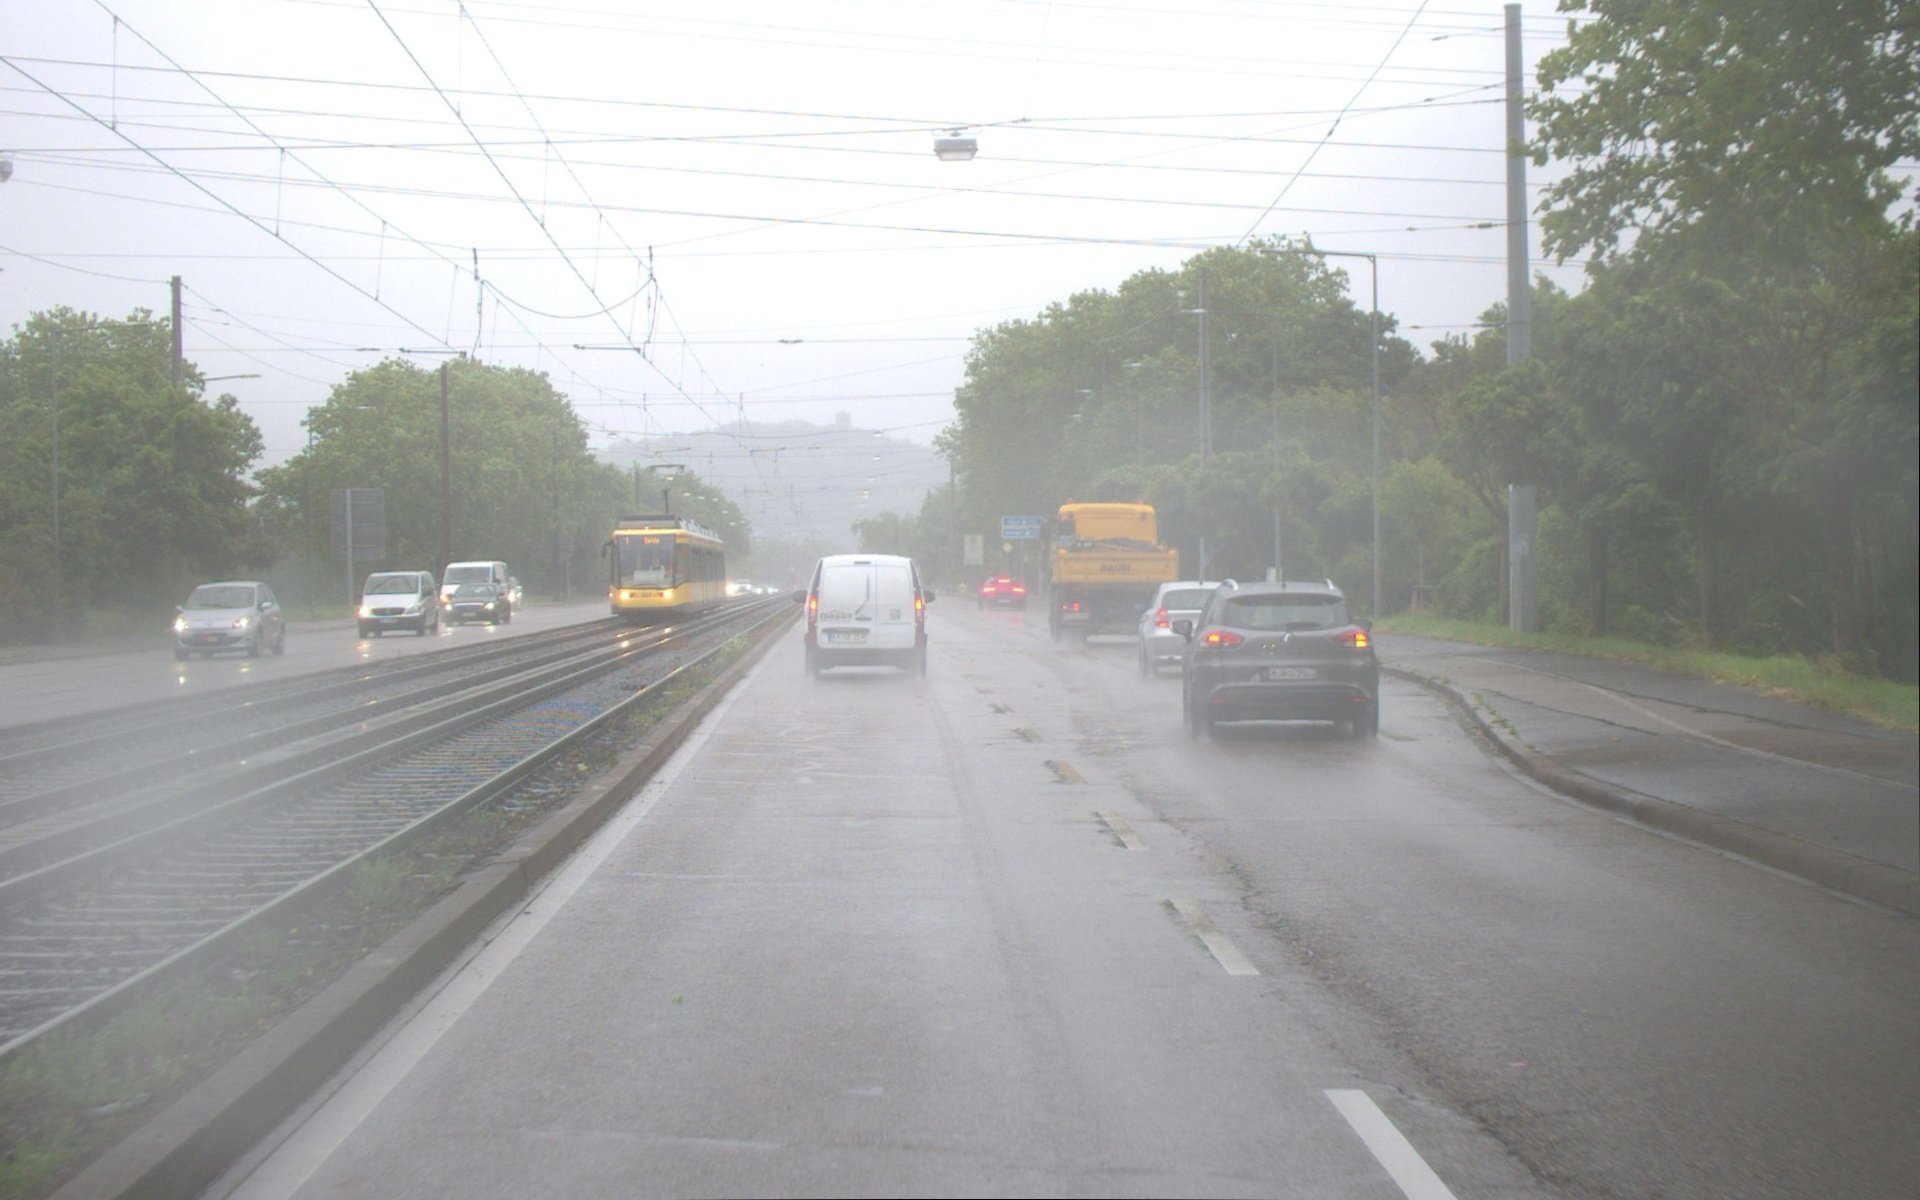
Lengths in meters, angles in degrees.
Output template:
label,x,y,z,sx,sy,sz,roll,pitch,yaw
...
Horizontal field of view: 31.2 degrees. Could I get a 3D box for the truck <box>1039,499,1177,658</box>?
label,x,y,z,sx,sy,sz,roll,pitch,yaw
truck,3.129,-0.479,74.184,2.555,3.246,6.933,1,1,-1

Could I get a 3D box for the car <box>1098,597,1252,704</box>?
label,x,y,z,sx,sy,sz,roll,pitch,yaw
car,3.233,0.730,52.442,1.626,1.498,4.607,1,1,-5

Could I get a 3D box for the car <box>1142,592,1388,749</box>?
label,x,y,z,sx,sy,sz,roll,pitch,yaw
car,2.843,0.626,32.867,1.887,1.352,4.277,1,1,-1

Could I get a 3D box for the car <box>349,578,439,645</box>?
label,x,y,z,sx,sy,sz,roll,pitch,yaw
car,-16.401,0.313,99.817,1.887,1.878,4.622,1,1,-1

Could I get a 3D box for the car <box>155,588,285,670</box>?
label,x,y,z,sx,sy,sz,roll,pitch,yaw
car,-15.873,0.598,73.906,1.887,1.637,4.347,1,1,-1

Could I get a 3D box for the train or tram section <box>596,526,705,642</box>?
label,x,y,z,sx,sy,sz,roll,pitch,yaw
train or tram section,-10.606,-0.611,119.398,2.864,3.693,17.892,1,1,-2

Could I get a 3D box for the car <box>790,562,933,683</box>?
label,x,y,z,sx,sy,sz,roll,pitch,yaw
car,-1.412,0.291,50.312,1.989,1.678,3.740,1,1,-1

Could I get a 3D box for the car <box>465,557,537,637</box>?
label,x,y,z,sx,sy,sz,roll,pitch,yaw
car,-16.255,-0.132,121.948,1.887,2.725,5.304,1,1,-1
